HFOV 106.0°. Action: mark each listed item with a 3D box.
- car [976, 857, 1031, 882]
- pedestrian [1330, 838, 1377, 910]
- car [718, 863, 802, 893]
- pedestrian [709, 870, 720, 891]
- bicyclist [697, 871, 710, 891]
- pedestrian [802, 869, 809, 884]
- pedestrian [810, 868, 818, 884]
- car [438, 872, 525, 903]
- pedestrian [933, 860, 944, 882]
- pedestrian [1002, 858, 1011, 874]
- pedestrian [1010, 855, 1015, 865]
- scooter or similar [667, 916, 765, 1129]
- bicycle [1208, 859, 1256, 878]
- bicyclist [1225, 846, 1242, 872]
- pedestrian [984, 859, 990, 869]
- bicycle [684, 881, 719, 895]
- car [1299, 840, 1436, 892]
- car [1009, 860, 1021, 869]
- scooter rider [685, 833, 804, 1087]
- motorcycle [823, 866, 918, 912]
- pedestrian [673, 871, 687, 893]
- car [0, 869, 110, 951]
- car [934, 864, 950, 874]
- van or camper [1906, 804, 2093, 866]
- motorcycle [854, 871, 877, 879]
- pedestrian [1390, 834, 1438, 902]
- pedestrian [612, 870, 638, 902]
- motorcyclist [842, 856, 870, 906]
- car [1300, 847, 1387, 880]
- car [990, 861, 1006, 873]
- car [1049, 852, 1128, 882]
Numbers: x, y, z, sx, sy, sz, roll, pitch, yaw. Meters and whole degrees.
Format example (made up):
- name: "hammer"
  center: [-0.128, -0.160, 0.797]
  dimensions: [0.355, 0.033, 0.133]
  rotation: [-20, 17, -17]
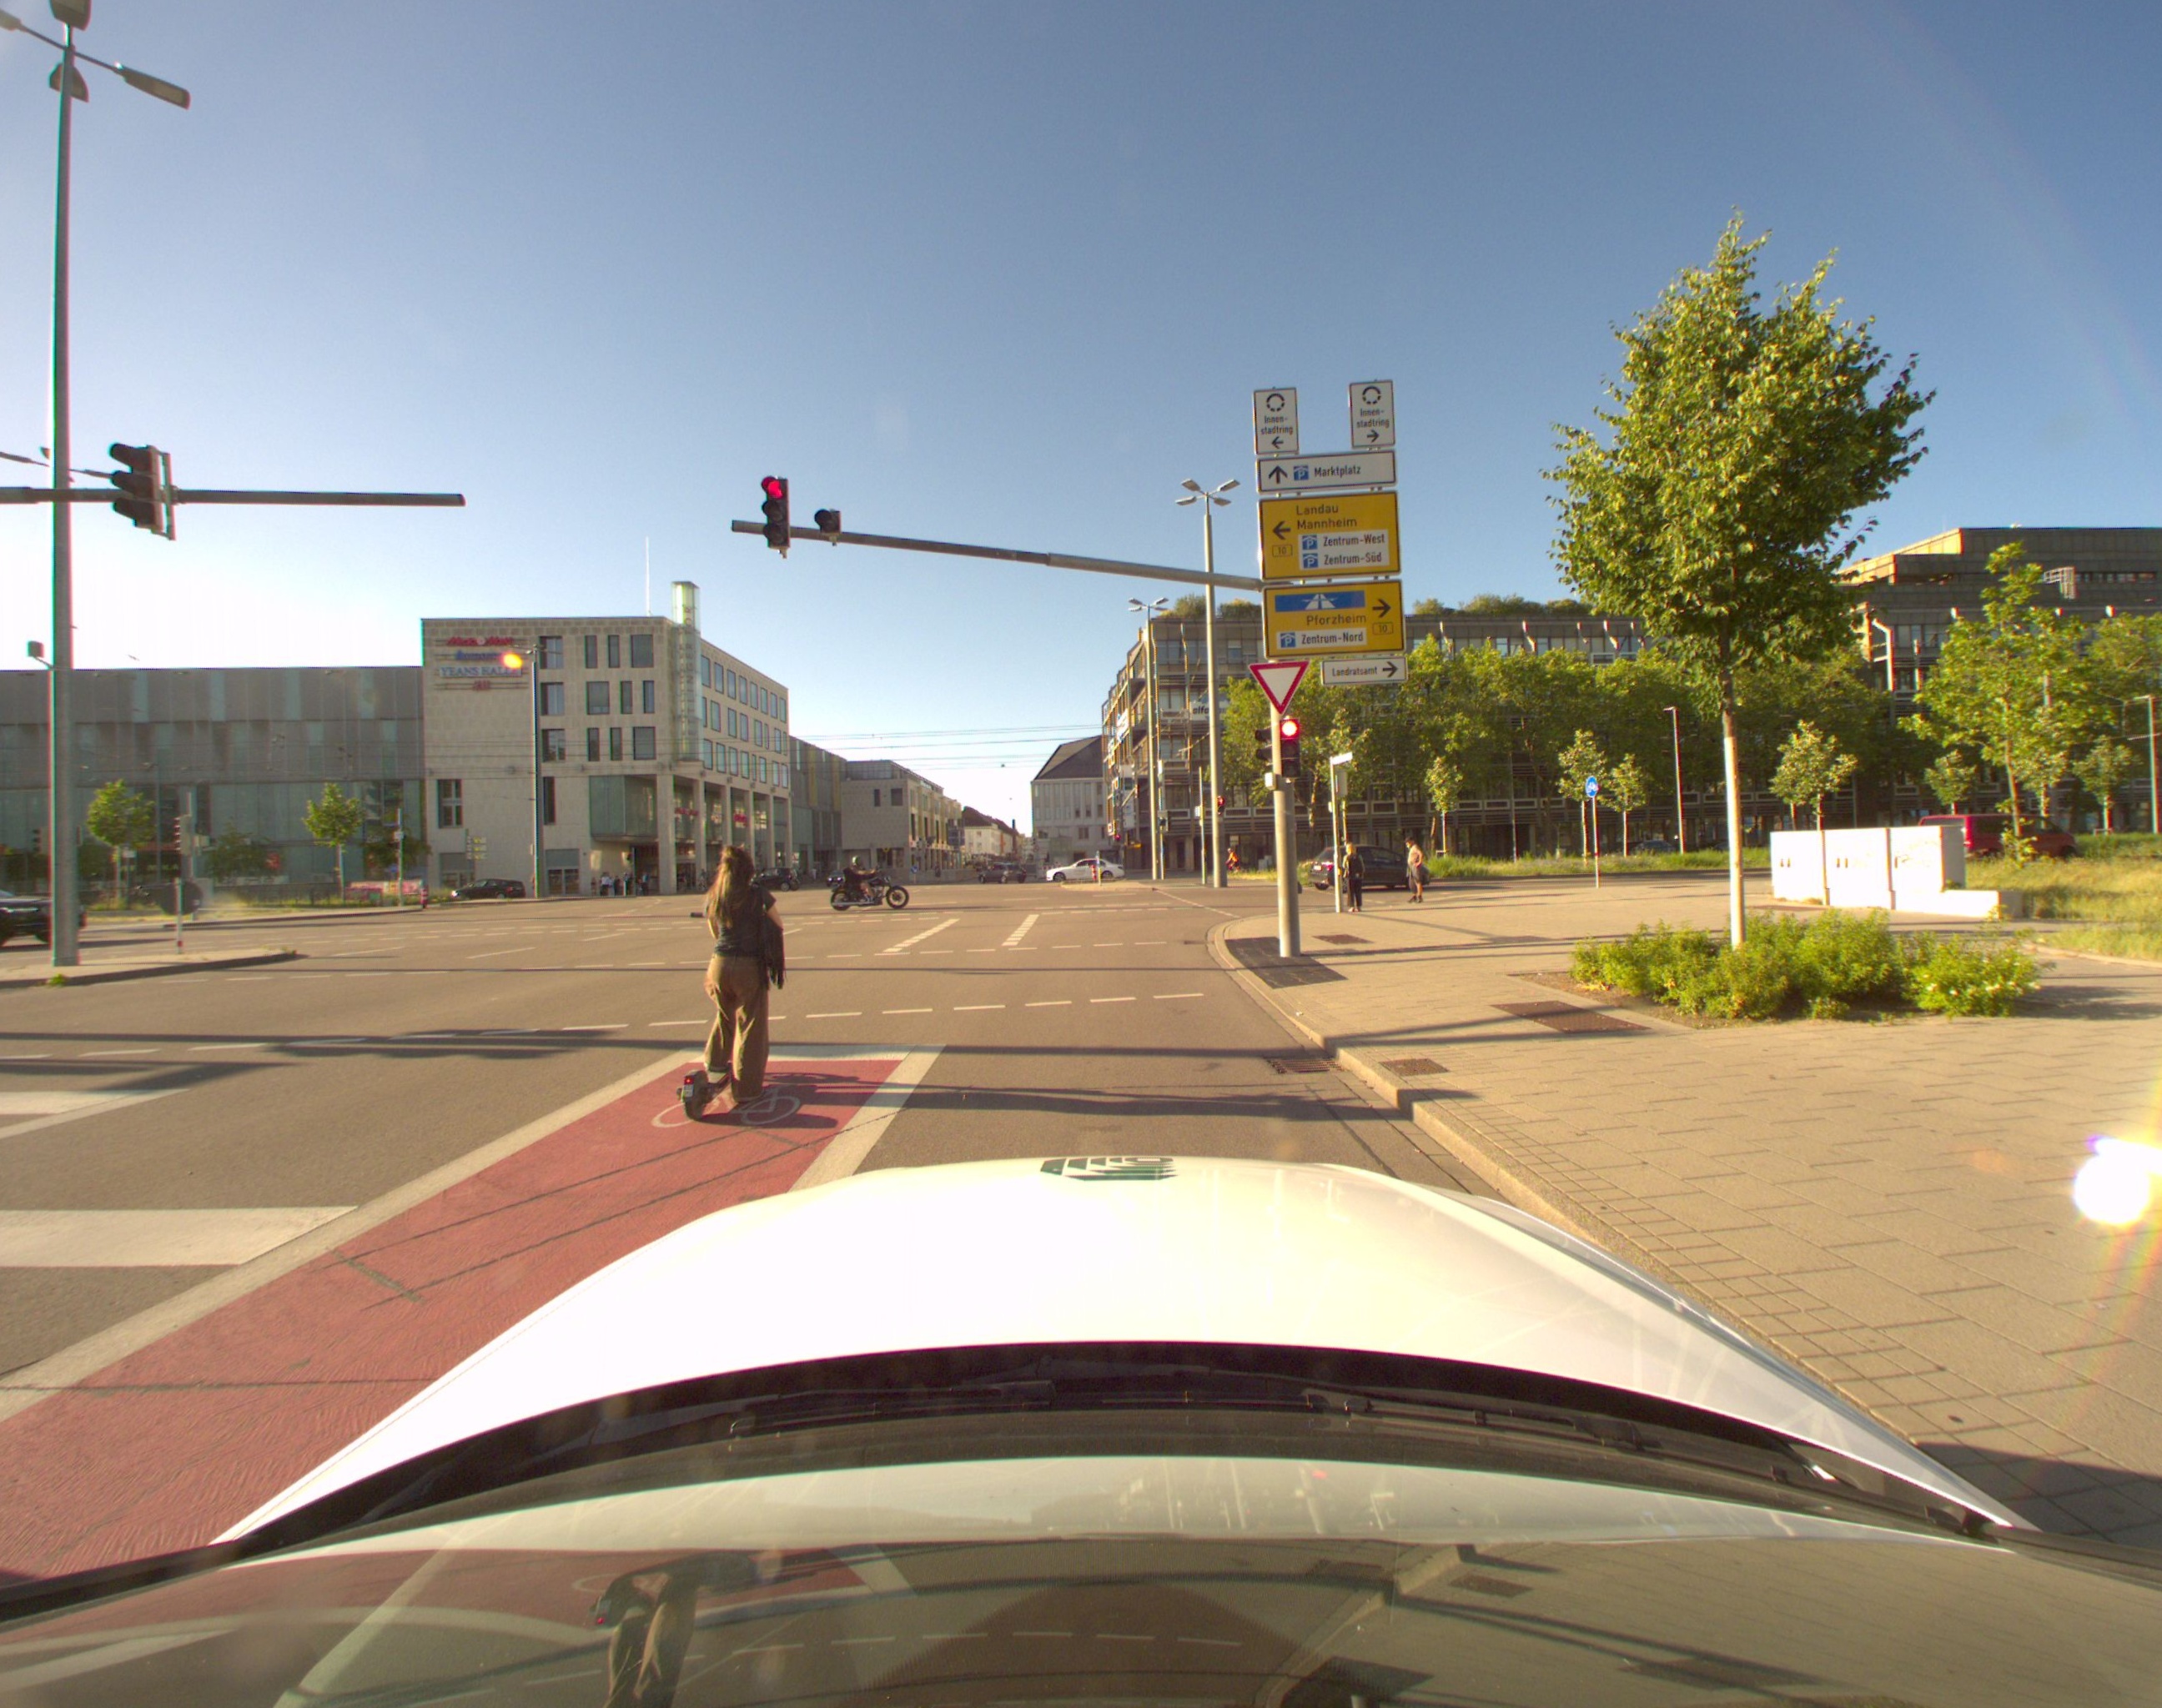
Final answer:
- name: "car"
  center: [-5.519, 1.101, 57.695]
  dimensions: [1.835, 1.684, 3.952]
  rotation: [-2, 0, -41]
- name: "pedestrian"
  center: [6.332, 0.451, 18.958]
  dimensions: [0.763, 1.614, 0.874]
  rotation: [-2, 0, 0]
- name: "car"
  center: [-19.822, 1.480, 50.429]
  dimensions: [4.392, 1.684, 1.824]
  rotation: [-2, 0, -2]
- name: "pedestrian"
  center: [-30.199, 2.161, 67.053]
  dimensions: [0.590, 1.646, 0.629]
  rotation: [-2, 0, 1]
- name: "bicyclist"
  center: [-27.786, 2.002, 59.932]
  dimensions: [0.620, 1.448, 0.592]
  rotation: [-2, 0, 43]
- name: "pedestrian"
  center: [-31.358, 2.549, 92.763]
  dimensions: [0.465, 1.729, 0.632]
  rotation: [-1, -1, 30]
- name: "pedestrian"
  center: [-29.635, 2.410, 90.223]
  dimensions: [0.465, 1.729, 0.699]
  rotation: [-1, -1, 40]
- name: "car"
  center: [-36.747, 2.027, 49.964]
  dimensions: [3.973, 1.684, 1.761]
  rotation: [-2, 0, 0]
- name: "pedestrian"
  center: [-11.098, 1.319, 63.548]
  dimensions: [0.697, 1.688, 0.620]
  rotation: [-2, 0, 2]
- name: "pedestrian"
  center: [-8.243, 1.308, 90.319]
  dimensions: [0.896, 1.782, 0.809]
  rotation: [-2, 0, 1]
- name: "pedestrian"
  center: [-13.900, 1.183, 165.259]
  dimensions: [0.907, 1.965, 0.823]
  rotation: [0, -1, 1]
- name: "scooter or similar"
  center: [-2.190, 0.964, 4.947]
  dimensions: [0.306, 1.107, 0.835]
  rotation: [-2, 0, -9]
- name: "bicycle"
  center: [8.689, 0.818, 47.052]
  dimensions: [2.561, 0.975, 1.047]
  rotation: [-2, 0, -1]
- name: "bicyclist"
  center: [8.825, 0.305, 47.068]
  dimensions: [0.820, 1.474, 0.652]
  rotation: [-2, 0, -2]
- name: "pedestrian"
  center: [-18.855, 2.026, 163.492]
  dimensions: [0.907, 1.964, 0.823]
  rotation: [-2, 0, 1]
- name: "bicycle"
  center: [-27.850, 2.512, 59.856]
  dimensions: [0.629, 0.903, 2.232]
  rotation: [-2, 0, 42]
- name: "car"
  center: [9.311, 0.363, 26.615]
  dimensions: [3.858, 1.510, 1.667]
  rotation: [-2, 0, -7]
- name: "car"
  center: [-11.907, 1.825, 146.507]
  dimensions: [1.652, 1.458, 3.543]
  rotation: [-2, 0, 2]
- name: "scooter rider"
  center: [-2.132, 0.645, 5.208]
  dimensions: [0.552, 1.530, 0.448]
  rotation: [-2, 0, -7]
- name: "motorcycle"
  center: [-6.121, 1.016, 23.821]
  dimensions: [2.594, 1.208, 0.728]
  rotation: [-2, 1, -9]
- name: "pedestrian"
  center: [-34.305, 2.413, 69.617]
  dimensions: [0.935, 1.864, 0.541]
  rotation: [-2, 0, 18]
- name: "car"
  center: [-27.071, 1.377, 19.427]
  dimensions: [4.820, 1.864, 1.878]
  rotation: [-2, 0, -12]
- name: "car"
  center: [-20.823, 2.250, 122.218]
  dimensions: [1.652, 1.458, 3.543]
  rotation: [-2, 0, 2]
- name: "van or camper"
  center: [33.020, -0.653, 29.343]
  dimensions: [4.820, 2.013, 2.003]
  rotation: [-2, 0, -6]
- name: "motorcycle"
  center: [-26.124, 2.542, 98.807]
  dimensions: [2.600, 0.993, 1.113]
  rotation: [0, -1, -8]
- name: "pedestrian"
  center: [8.605, 0.354, 21.044]
  dimensions: [0.869, 1.706, 0.768]
  rotation: [-2, 0, 0]
- name: "pedestrian"
  center: [-25.135, 1.763, 44.907]
  dimensions: [0.821, 1.675, 1.004]
  rotation: [-2, 0, -2]
- name: "motorcyclist"
  center: [-6.560, 0.773, 23.718]
  dimensions: [0.656, 1.423, 0.646]
  rotation: [-2, 1, -8]
- name: "car"
  center: [14.881, 0.516, 46.267]
  dimensions: [4.287, 1.684, 1.820]
  rotation: [-2, 0, -9]
- name: "car"
  center: [-11.017, 1.746, 108.525]
  dimensions: [1.652, 1.458, 3.543]
  rotation: [-2, 0, 2]
- name: "car"
  center: [0.474, 0.777, 51.042]
  dimensions: [4.826, 1.684, 1.826]
  rotation: [-2, 0, 1]
